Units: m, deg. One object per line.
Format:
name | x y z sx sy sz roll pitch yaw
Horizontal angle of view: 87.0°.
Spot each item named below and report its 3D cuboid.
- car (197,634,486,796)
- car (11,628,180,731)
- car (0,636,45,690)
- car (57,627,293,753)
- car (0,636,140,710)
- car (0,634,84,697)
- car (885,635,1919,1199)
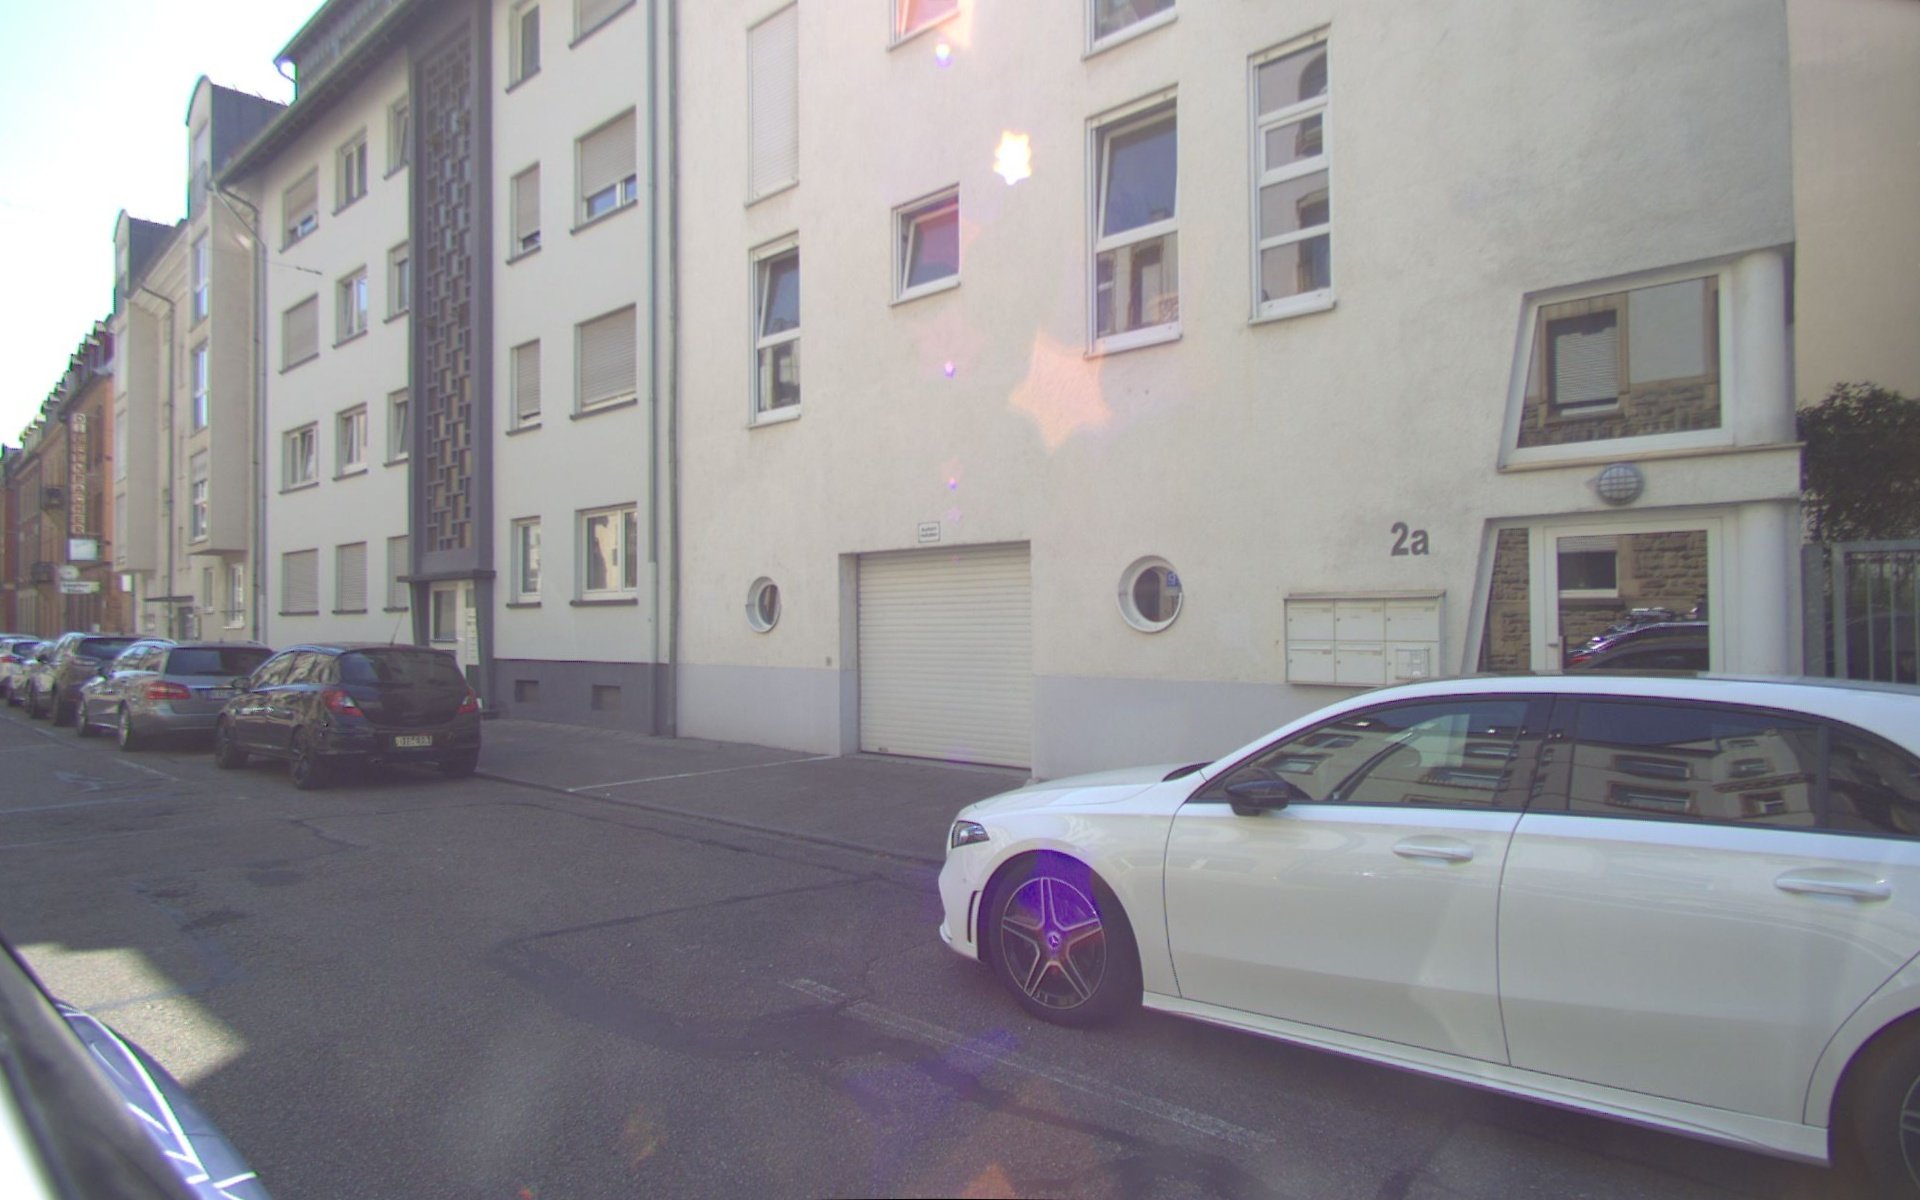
car | -7.067 1.169 11.427 3.890 1.503 1.551 -1 -4 40
car | -15.552 1.352 18.142 3.973 1.657 1.587 -1 -4 40
car | -29.640 1.886 31.006 3.847 1.561 1.613 -1 -6 37
car | -11.380 1.187 14.551 4.667 1.530 1.640 -1 -4 40
car | -19.347 1.522 21.803 4.344 1.404 1.747 -1 -4 40
car | -24.419 1.659 26.320 4.344 1.506 1.713 -1 -5 40
car | 1.908 0.901 3.740 4.273 1.471 1.759 -1 -4 38
